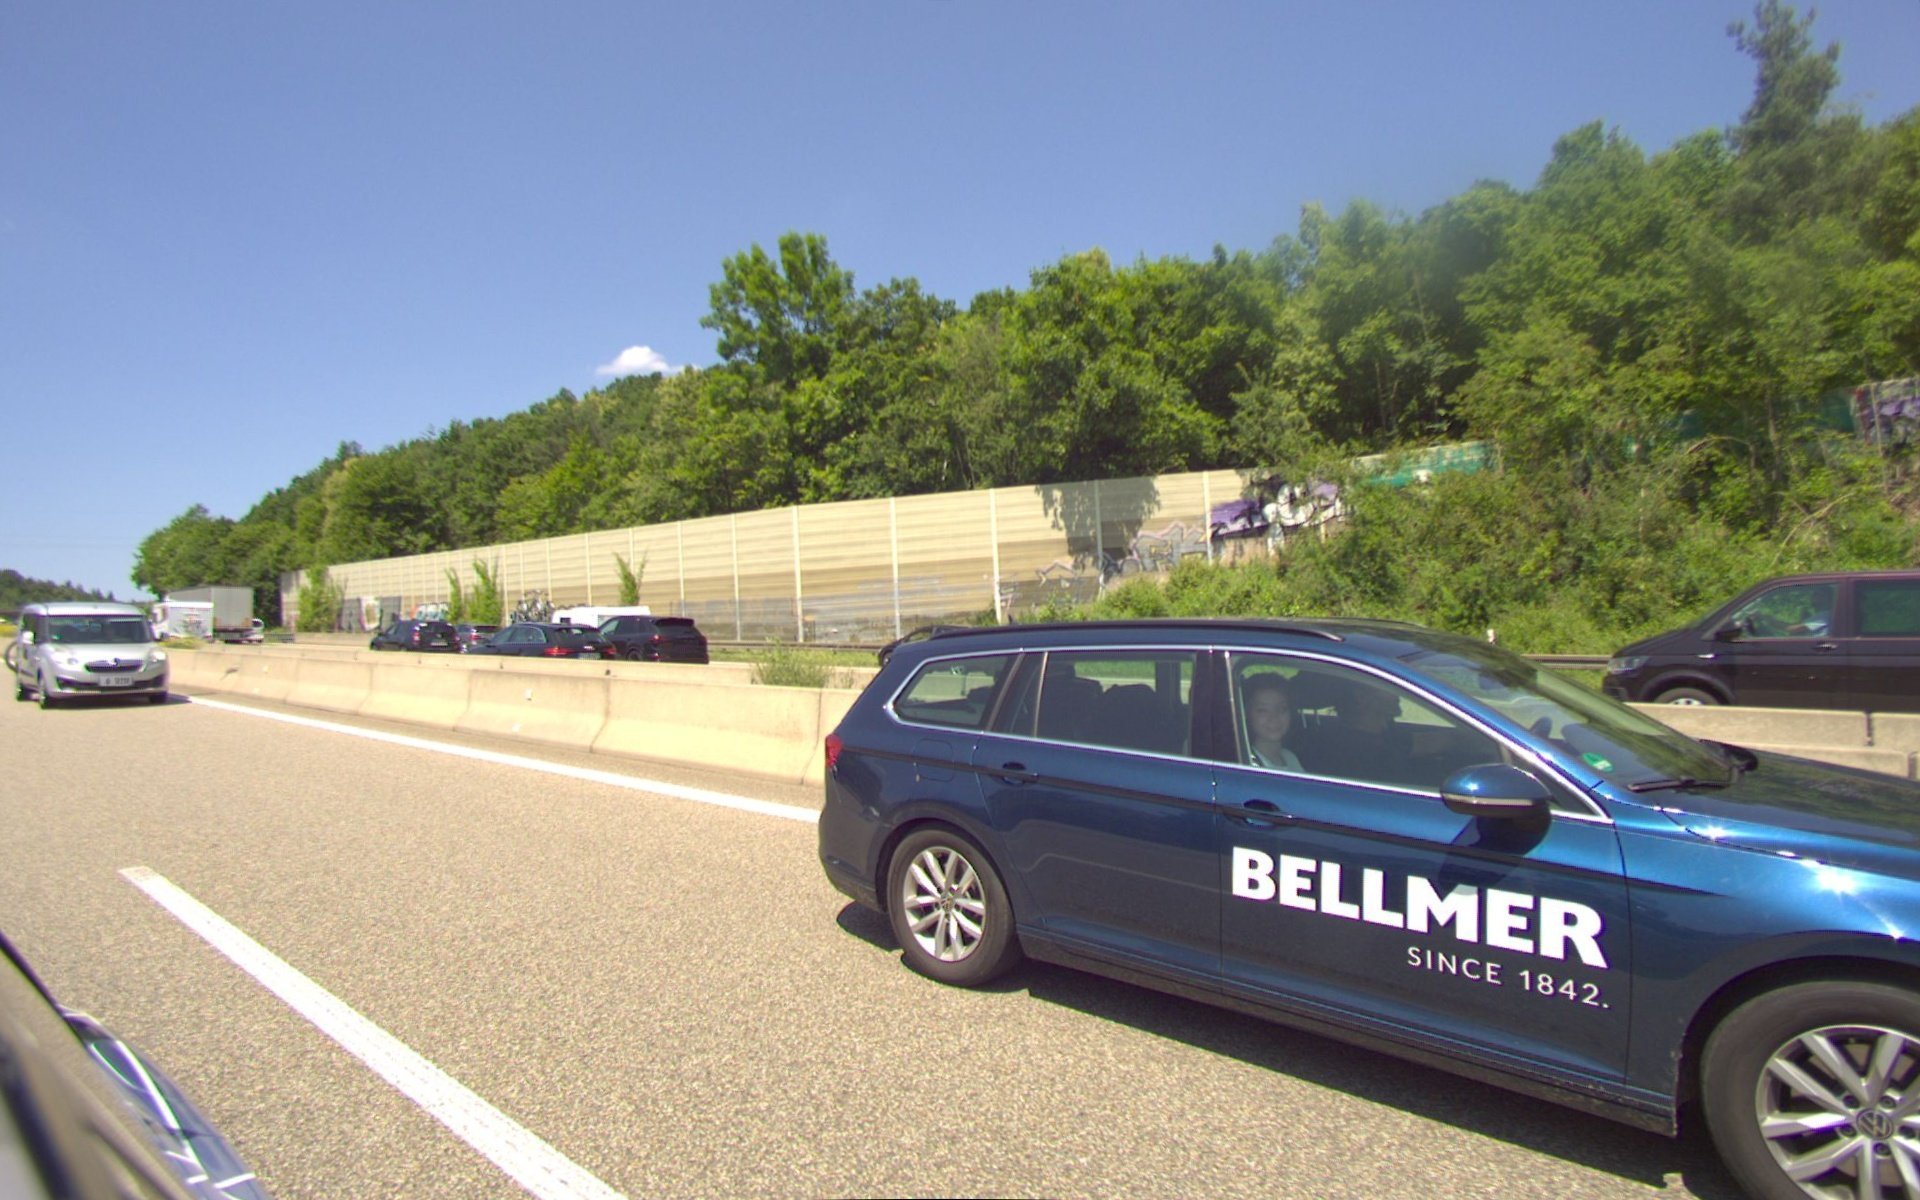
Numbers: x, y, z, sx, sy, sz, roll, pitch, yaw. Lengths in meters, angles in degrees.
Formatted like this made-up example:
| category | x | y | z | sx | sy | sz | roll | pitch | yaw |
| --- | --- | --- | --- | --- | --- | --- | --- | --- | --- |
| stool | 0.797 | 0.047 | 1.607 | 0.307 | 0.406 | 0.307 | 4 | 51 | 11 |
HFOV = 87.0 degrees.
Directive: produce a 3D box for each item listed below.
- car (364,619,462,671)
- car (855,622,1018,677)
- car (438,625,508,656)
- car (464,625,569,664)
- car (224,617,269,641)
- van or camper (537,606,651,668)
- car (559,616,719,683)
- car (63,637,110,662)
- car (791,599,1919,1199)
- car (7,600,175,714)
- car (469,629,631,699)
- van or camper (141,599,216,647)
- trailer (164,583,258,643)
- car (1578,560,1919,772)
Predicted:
| category | x | y | z | sx | sy | sz | roll | pitch | yaw |
| --- | --- | --- | --- | --- | --- | --- | --- | --- | --- |
| car | -19.180 | 1.525 | 35.398 | 4.194 | 1.696 | 1.675 | -1 | -2 | 41 |
| car | -0.752 | 1.389 | 29.498 | 4.691 | 1.446 | 1.926 | -1 | -2 | 41 |
| car | -24.285 | 1.992 | 50.401 | 4.387 | 1.473 | 1.561 | -2 | -2 | 42 |
| car | -16.616 | 1.643 | 37.838 | 4.721 | 1.357 | 1.782 | -1 | -2 | 41 |
| car | -56.466 | 2.298 | 80.036 | 5.105 | 1.824 | 1.791 | -1 | -2 | 42 |
| van or camper | -12.376 | 1.233 | 34.151 | 3.701 | 1.992 | 2.055 | -1 | -2 | 40 |
| car | -8.834 | 1.286 | 27.608 | 4.925 | 1.652 | 1.905 | -1 | -1 | 41 |
| car | -56.496 | 3.193 | 65.433 | 4.126 | 1.549 | 1.693 | -1 | -2 | 41 |
| car | 1.582 | 0.752 | 3.557 | 4.727 | 1.438 | 1.714 | -1 | -2 | 41 |
| car | -15.912 | 0.978 | 18.470 | 3.998 | 1.858 | 1.757 | -1 | -2 | 41 |
| car | -9.102 | 1.339 | 22.311 | 4.268 | 1.386 | 1.597 | -1 | -2 | 41 |
| van or camper | -46.975 | 1.379 | 60.754 | 6.802 | 2.756 | 2.246 | -1 | -2 | 41 |
| trailer | -53.521 | 0.965 | 72.056 | 13.825 | 3.938 | 2.782 | -1 | -2 | 43 |
| car | 9.634 | 0.651 | 10.560 | 5.190 | 2.029 | 1.973 | -1 | -2 | 41 |
